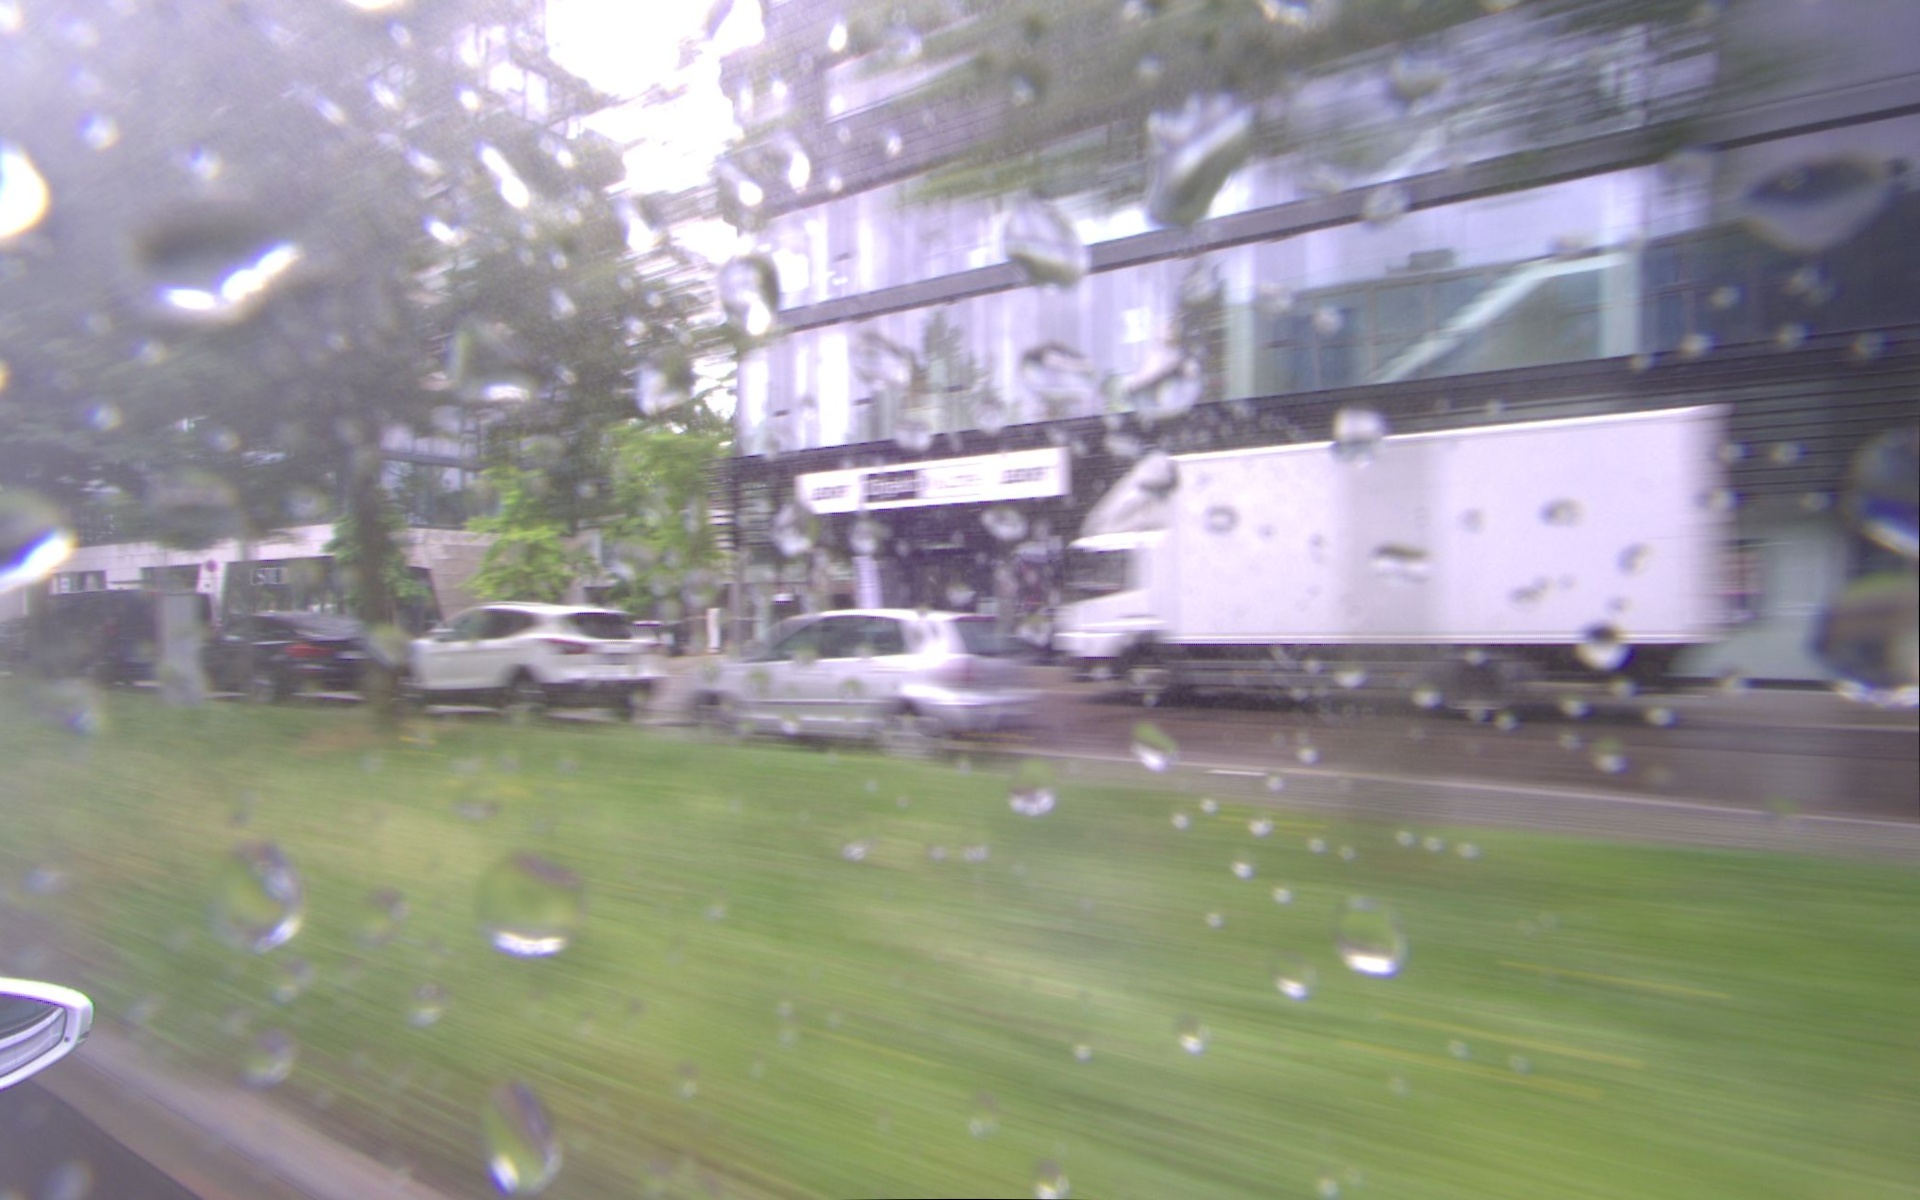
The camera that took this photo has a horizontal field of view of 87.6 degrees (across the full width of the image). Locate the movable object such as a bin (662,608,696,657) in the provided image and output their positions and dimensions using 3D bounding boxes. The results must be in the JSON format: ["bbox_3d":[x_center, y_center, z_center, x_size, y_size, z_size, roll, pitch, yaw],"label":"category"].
[{"bbox_3d":[-7.694,0.872,27.420,0.638,1.294,0.607,3,2,28],"label":"movable object such as a bin"}]

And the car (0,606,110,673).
[{"bbox_3d":[-23.525,0.934,24.967,4.410,1.533,1.955,0,0,26],"label":"car"}]

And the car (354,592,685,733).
[{"bbox_3d":[-6.263,0.748,14.101,4.654,1.691,1.990,0,0,32],"label":"car"}]

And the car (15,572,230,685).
[{"bbox_3d":[-17.211,0.489,20.517,4.955,1.979,1.989,2,2,32],"label":"car"}]

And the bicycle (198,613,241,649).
[{"bbox_3d":[-24.674,1.014,33.340,2.036,1.145,0.517,0,0,35],"label":"bicycle"}]

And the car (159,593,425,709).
[{"bbox_3d":[-11.454,0.755,17.090,4.886,1.691,1.989,1,1,32],"label":"car"}]

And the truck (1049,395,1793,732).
[{"bbox_3d":[5.684,-0.355,13.780,8.418,3.486,3.021,0,0,29],"label":"truck"}]

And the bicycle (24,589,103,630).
[{"bbox_3d":[-42.430,0.445,47.418,0.698,1.885,2.670,1,1,36],"label":"bicycle"}]

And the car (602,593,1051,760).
[{"bbox_3d":[-1.508,0.771,10.744,4.653,1.469,1.769,-1,-4,30],"label":"car"}]
